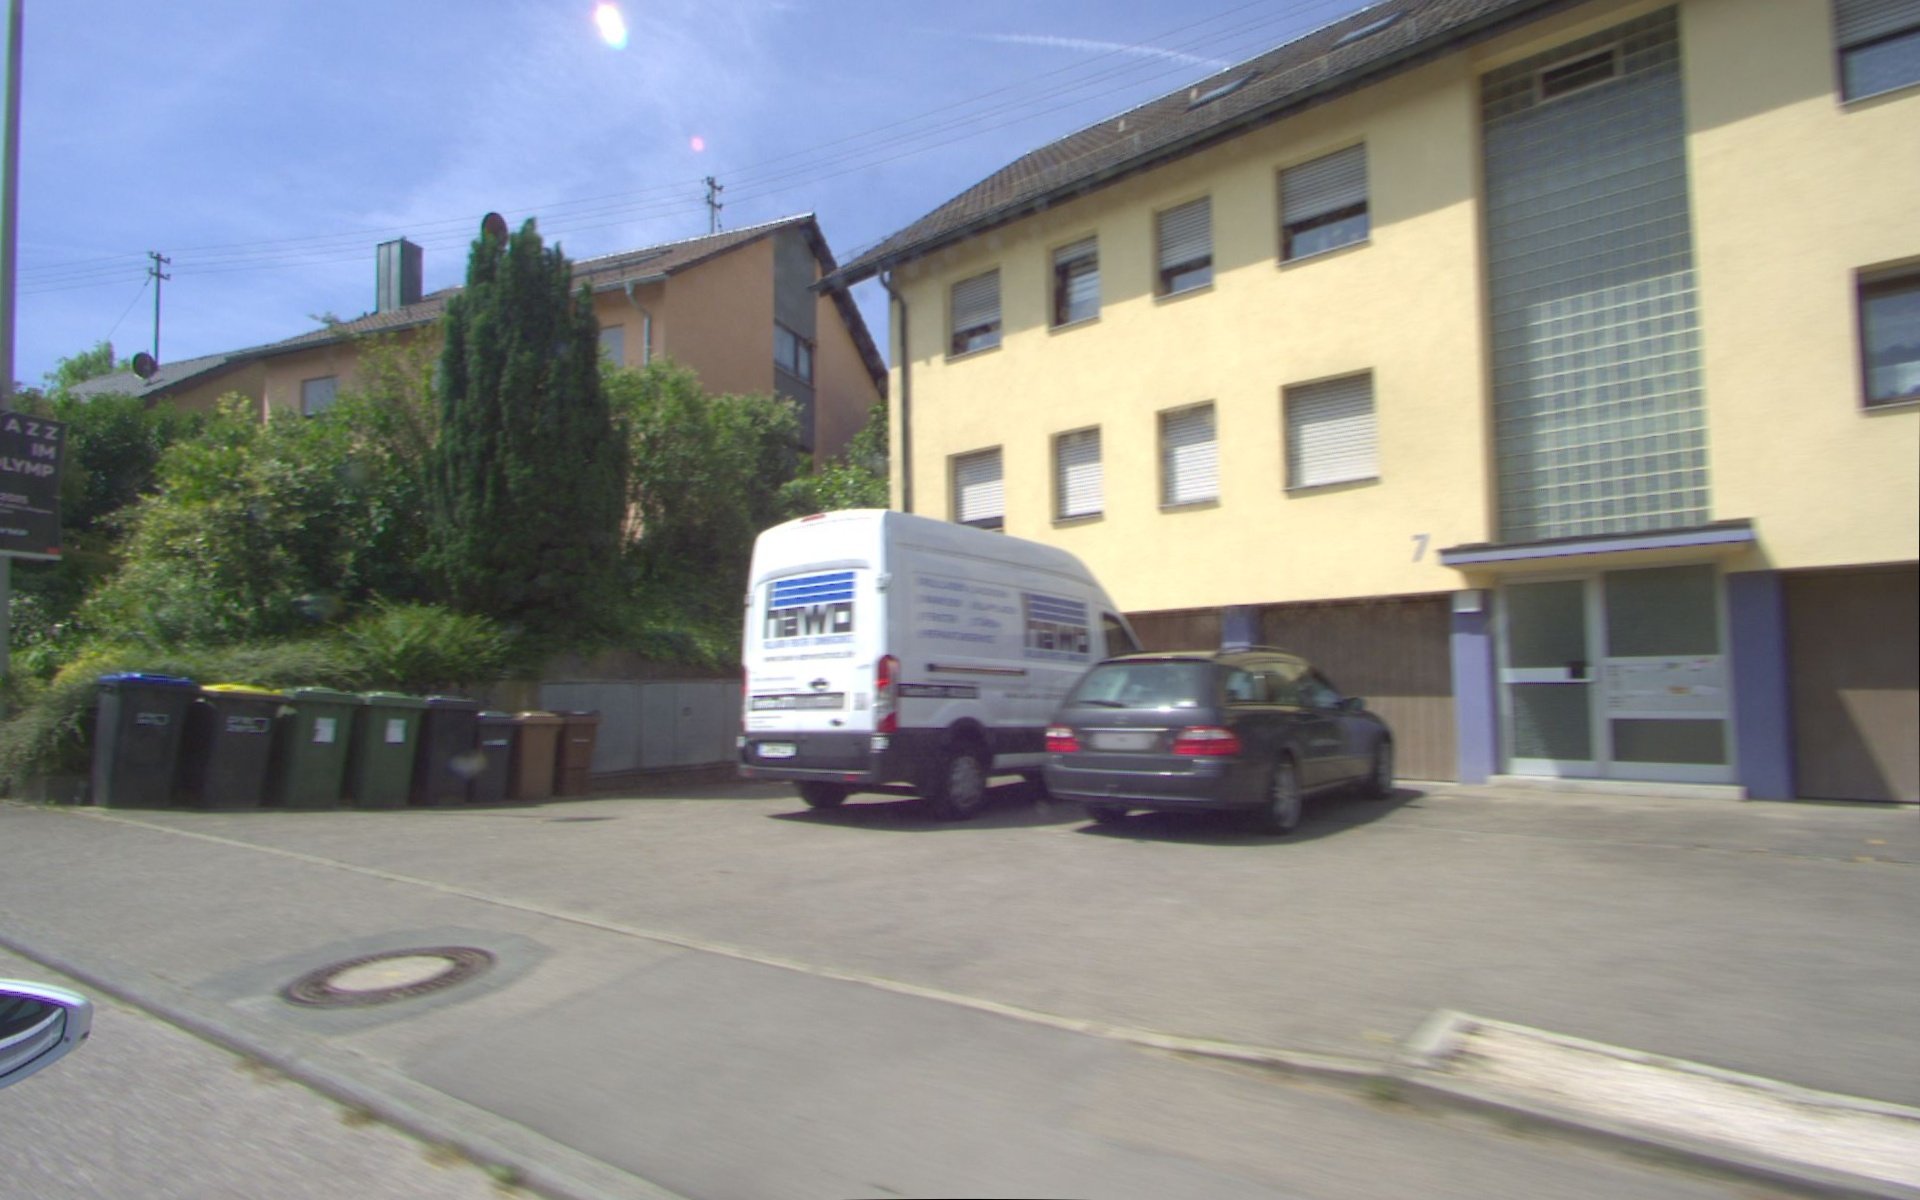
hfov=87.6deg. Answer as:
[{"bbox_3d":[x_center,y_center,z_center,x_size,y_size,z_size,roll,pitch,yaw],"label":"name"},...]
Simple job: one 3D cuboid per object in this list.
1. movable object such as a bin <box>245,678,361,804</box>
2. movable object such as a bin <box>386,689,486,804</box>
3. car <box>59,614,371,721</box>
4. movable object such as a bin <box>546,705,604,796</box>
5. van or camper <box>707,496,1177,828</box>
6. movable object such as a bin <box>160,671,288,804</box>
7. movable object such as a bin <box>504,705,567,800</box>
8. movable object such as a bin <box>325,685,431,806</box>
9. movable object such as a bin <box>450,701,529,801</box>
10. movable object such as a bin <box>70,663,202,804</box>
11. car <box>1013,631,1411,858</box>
[{"bbox_3d":[-6.013,1.288,9.178,0.663,1.080,0.550,-1,-8,32],"label":"movable object such as a bin"},{"bbox_3d":[-5.282,1.460,10.096,0.663,1.080,0.549,-1,-6,32],"label":"movable object such as a bin"},{"bbox_3d":[-11.948,1.110,16.365,1.805,1.517,3.651,0,-4,20],"label":"car"},{"bbox_3d":[-4.366,1.695,11.363,0.403,0.983,0.399,0,-4,32],"label":"movable object such as a bin"},{"bbox_3d":[0.111,0.770,10.821,2.258,2.677,5.211,-4,-7,38],"label":"van or camper"},{"bbox_3d":[-6.412,1.186,8.729,0.757,1.080,0.550,-1,-8,32],"label":"movable object such as a bin"},{"bbox_3d":[-4.607,1.646,10.874,0.403,0.983,0.399,0,-6,32],"label":"movable object such as a bin"},{"bbox_3d":[-5.580,1.381,9.610,0.663,1.080,0.549,-1,-6,32],"label":"movable object such as a bin"},{"bbox_3d":[-4.932,1.576,10.501,0.542,0.983,0.459,-1,-6,32],"label":"movable object such as a bin"},{"bbox_3d":[-6.786,1.093,8.255,0.649,1.080,0.550,-1,-8,32],"label":"movable object such as a bin"},{"bbox_3d":[2.622,1.186,9.464,1.886,1.582,4.684,-4,-5,38],"label":"car"}]
